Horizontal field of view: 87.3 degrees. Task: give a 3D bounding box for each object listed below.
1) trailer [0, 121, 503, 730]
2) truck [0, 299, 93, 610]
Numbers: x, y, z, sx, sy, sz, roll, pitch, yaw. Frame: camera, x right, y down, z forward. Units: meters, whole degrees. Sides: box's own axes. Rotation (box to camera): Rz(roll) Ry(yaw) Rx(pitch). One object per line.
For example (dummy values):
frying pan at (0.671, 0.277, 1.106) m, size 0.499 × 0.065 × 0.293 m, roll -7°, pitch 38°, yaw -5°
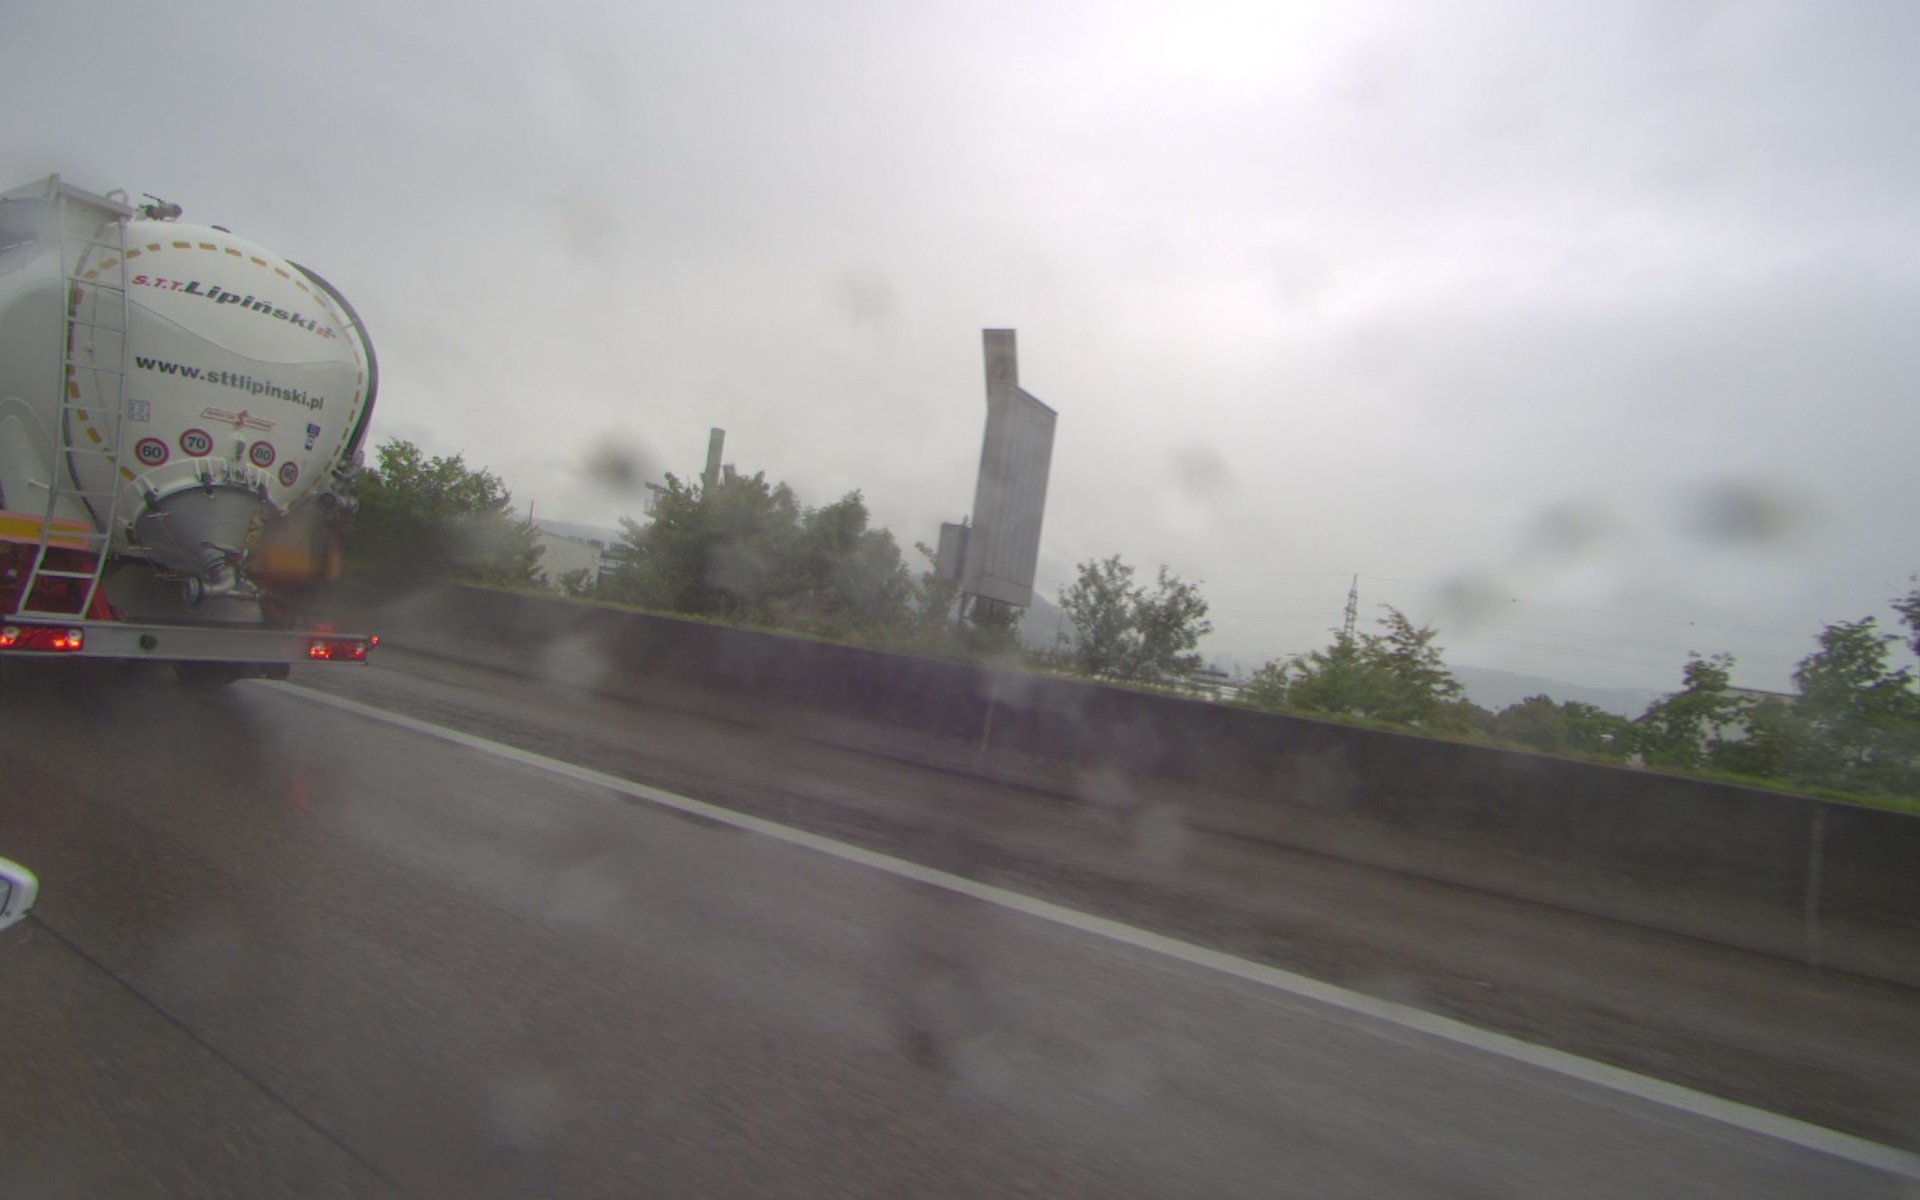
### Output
trailer at (-9.913, -1.511, 10.426) m, size 11.471 × 3.713 × 3.195 m, roll 7°, pitch -1°, yaw 31°
truck at (-15.615, -2.289, 13.926) m, size 7.091 × 3.851 × 3.110 m, roll 7°, pitch -1°, yaw 31°
